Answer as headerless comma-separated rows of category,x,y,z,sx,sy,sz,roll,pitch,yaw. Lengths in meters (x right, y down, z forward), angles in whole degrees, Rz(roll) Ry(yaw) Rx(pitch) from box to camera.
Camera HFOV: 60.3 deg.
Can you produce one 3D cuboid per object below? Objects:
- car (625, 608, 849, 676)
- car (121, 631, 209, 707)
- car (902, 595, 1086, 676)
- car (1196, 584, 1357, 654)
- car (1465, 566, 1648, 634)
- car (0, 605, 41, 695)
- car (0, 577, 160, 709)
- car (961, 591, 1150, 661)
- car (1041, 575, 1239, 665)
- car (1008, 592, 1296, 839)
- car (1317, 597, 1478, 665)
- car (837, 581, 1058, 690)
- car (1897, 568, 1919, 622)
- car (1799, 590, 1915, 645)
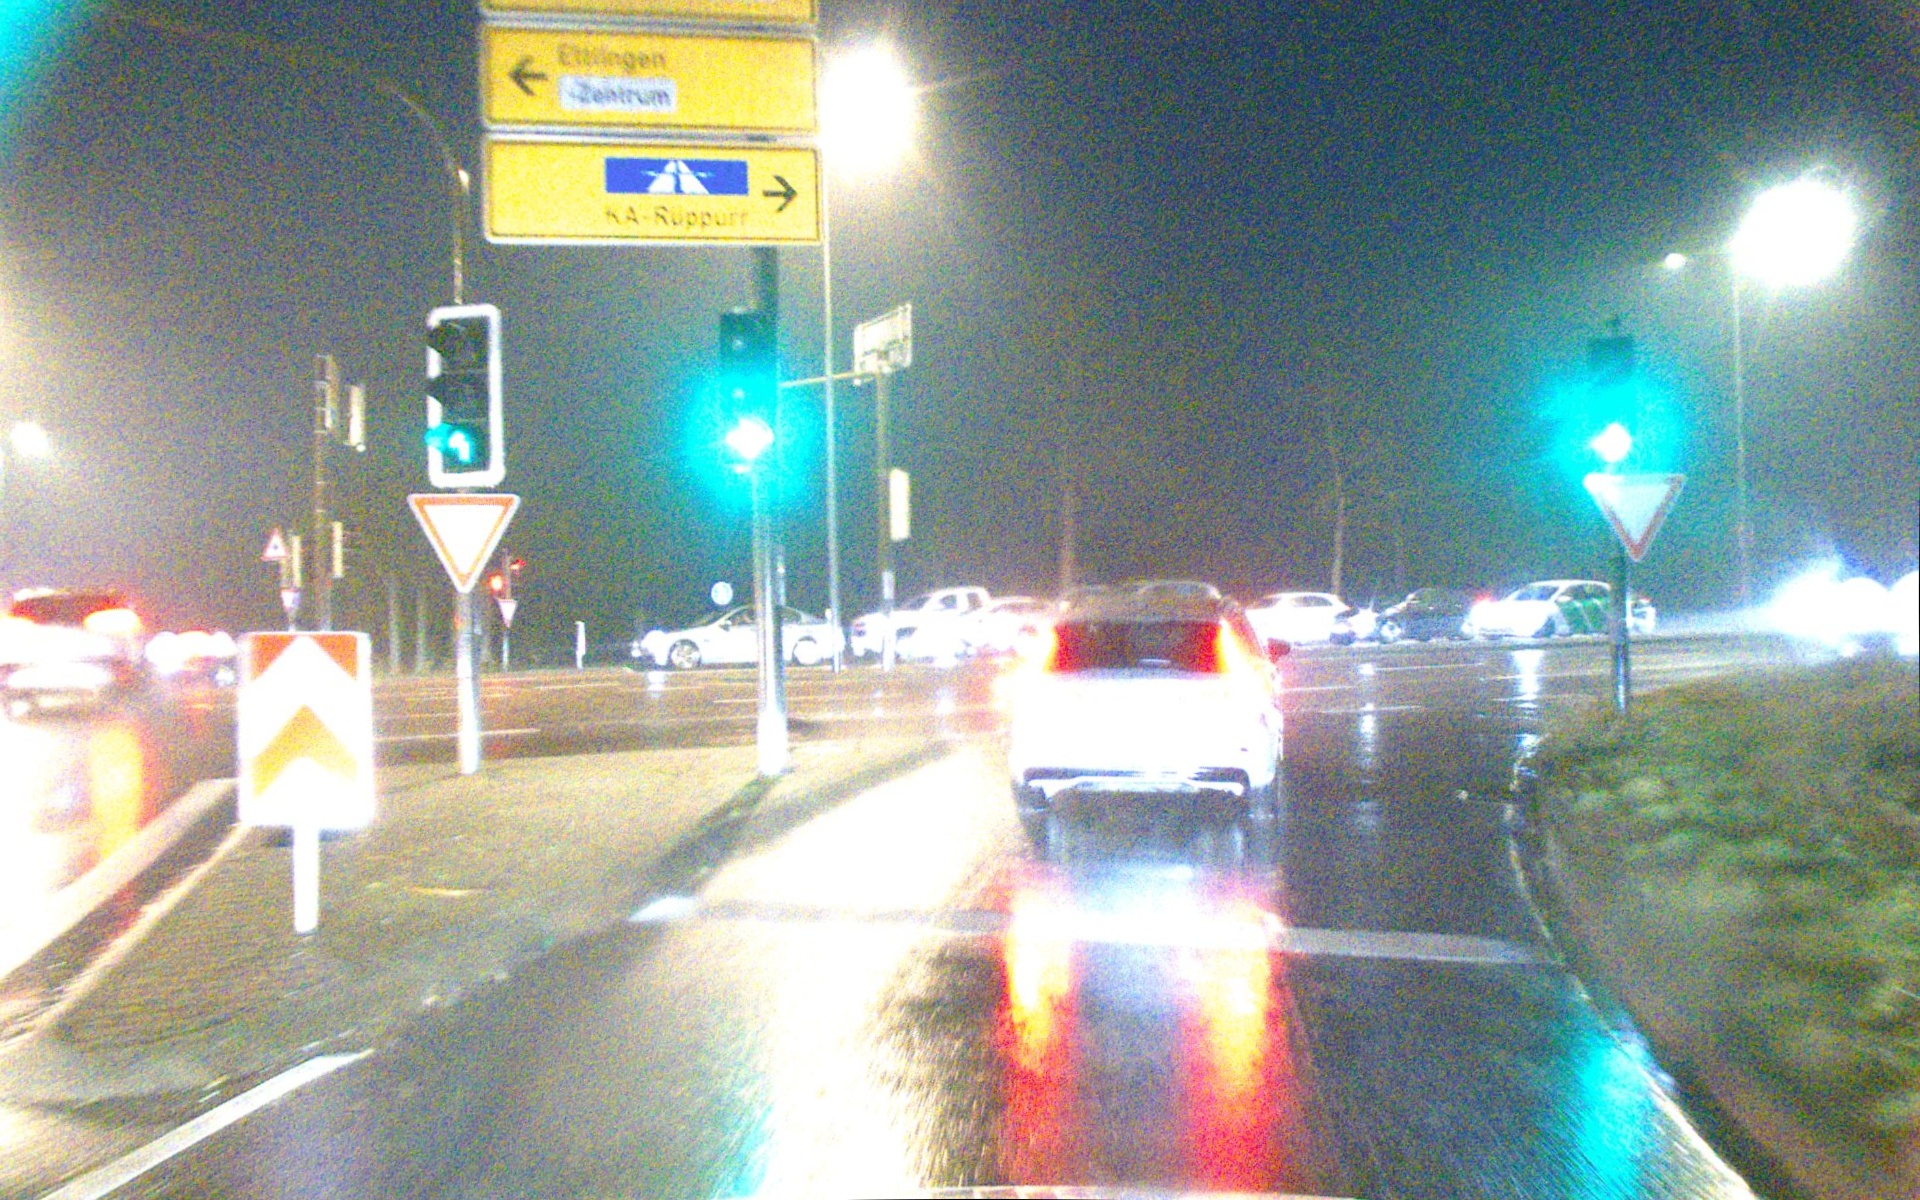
car,-5.002,0.943,37.269,4.733,1.452,1.749,1,-1,-29
car,-19.985,1.684,41.506,1.807,1.682,4.439,1,0,-28
car,0.851,0.862,40.489,4.224,1.881,1.748,1,-1,-30
car,8.634,0.535,45.114,4.190,1.831,1.786,1,-1,-30
car,14.588,-0.036,40.418,4.348,1.509,1.766,-1,2,-28
car,-19.229,0.972,32.274,1.884,1.687,3.956,0,-1,-24
car,-11.933,0.569,22.443,1.827,1.619,3.991,1,-1,-25
car,2.176,0.591,37.536,3.994,1.513,1.704,1,-1,-26
car,3.803,0.389,34.882,3.843,1.755,1.750,-1,0,-28
car,1.572,0.685,12.213,1.758,1.477,4.272,0,0,11
car,11.345,0.801,42.839,3.920,1.695,1.786,1,-1,-30
car,-0.299,0.936,43.977,5.527,2.757,2.235,1,-1,-29
car,30.650,-0.198,50.365,4.247,1.605,1.800,-1,-1,-30
car,31.753,0.631,58.510,3.943,1.881,1.812,1,-1,-29
